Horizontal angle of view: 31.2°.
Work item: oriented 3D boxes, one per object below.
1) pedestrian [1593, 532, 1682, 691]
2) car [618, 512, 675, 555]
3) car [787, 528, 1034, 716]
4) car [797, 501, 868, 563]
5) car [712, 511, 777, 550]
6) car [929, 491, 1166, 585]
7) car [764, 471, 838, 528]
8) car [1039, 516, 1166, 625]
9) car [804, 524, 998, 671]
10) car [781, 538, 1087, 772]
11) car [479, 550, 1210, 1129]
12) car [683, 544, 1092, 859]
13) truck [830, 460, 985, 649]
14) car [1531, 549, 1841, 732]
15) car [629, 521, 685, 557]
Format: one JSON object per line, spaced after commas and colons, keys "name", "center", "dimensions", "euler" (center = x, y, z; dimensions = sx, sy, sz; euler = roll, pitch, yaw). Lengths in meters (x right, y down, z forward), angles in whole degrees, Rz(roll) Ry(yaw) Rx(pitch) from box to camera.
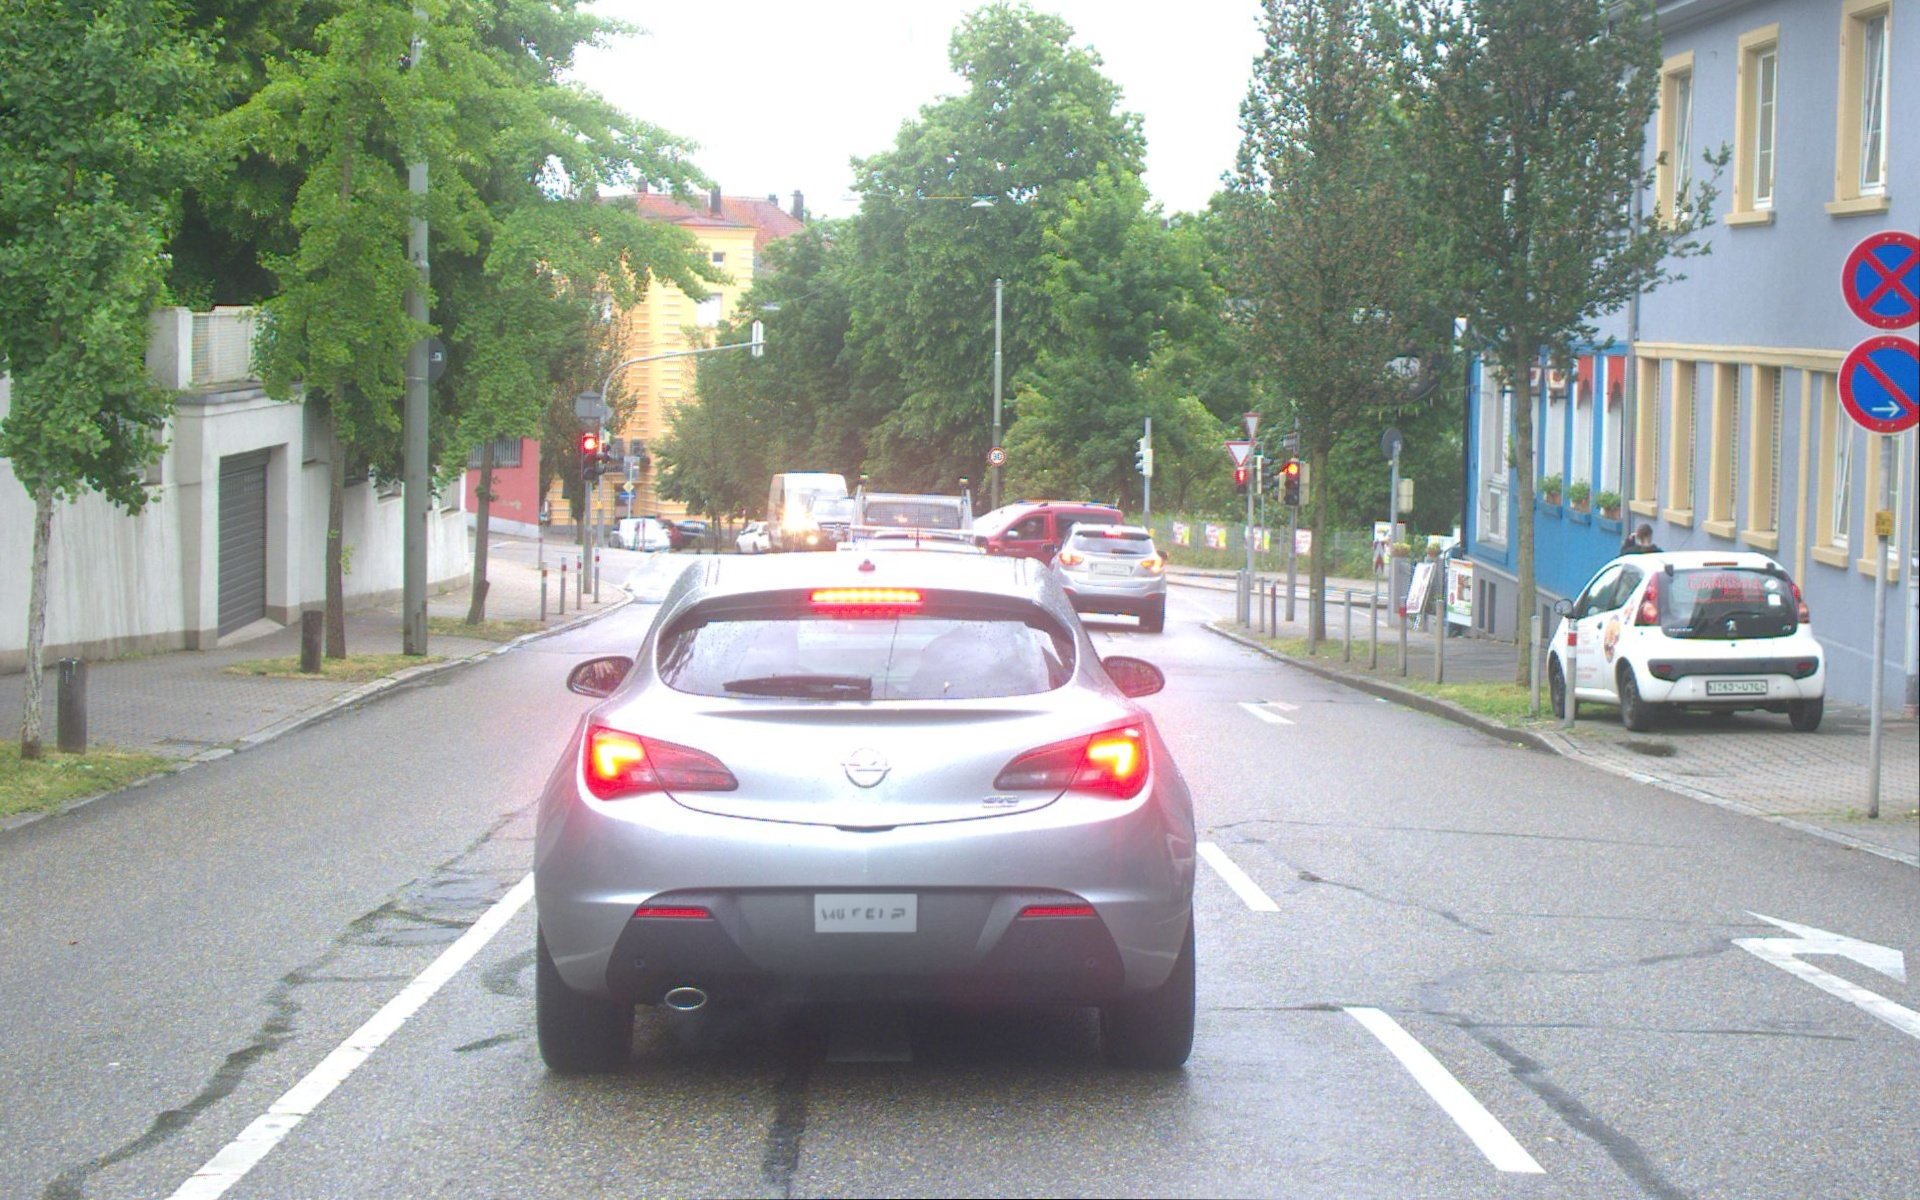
{"name": "pedestrian", "center": [7.498, 0.121, 38.048], "dimensions": [0.783, 1.723, 0.651], "euler": [2, 1, 0]}
{"name": "car", "center": [-10.791, -2.278, 118.437], "dimensions": [1.722, 1.455, 3.880], "euler": [0, 1, -2]}
{"name": "car", "center": [-0.471, 0.135, 30.169], "dimensions": [1.962, 1.443, 4.306], "euler": [2, 1, -2]}
{"name": "car", "center": [-3.446, -1.846, 93.330], "dimensions": [1.870, 1.632, 3.880], "euler": [0, 1, -2]}
{"name": "car", "center": [-8.795, -2.832, 140.056], "dimensions": [1.722, 1.538, 3.881], "euler": [0, 1, -18]}
{"name": "car", "center": [1.767, -1.242, 68.906], "dimensions": [4.444, 1.822, 1.752], "euler": [-1, 1, -29]}
{"name": "car", "center": [-4.687, -2.921, 100.951], "dimensions": [1.722, 1.632, 3.881], "euler": [0, 1, -9]}
{"name": "car", "center": [2.282, -0.498, 55.858], "dimensions": [1.722, 1.708, 3.880], "euler": [0, 1, -3]}
{"name": "car", "center": [-0.673, -0.069, 37.828], "dimensions": [1.962, 1.443, 4.306], "euler": [2, 1, -2]}
{"name": "car", "center": [-0.237, 0.325, 24.791], "dimensions": [1.962, 1.443, 4.306], "euler": [2, 1, -2]}
{"name": "car", "center": [-0.374, 0.586, 10.694], "dimensions": [1.837, 1.429, 3.880], "euler": [1, 1, -2]}
{"name": "car", "center": [-0.421, 0.468, 19.070], "dimensions": [1.962, 1.443, 4.306], "euler": [2, 1, -2]}
{"name": "truck", "center": [-0.768, -0.667, 47.821], "dimensions": [1.962, 2.420, 4.936], "euler": [2, 1, -2]}
{"name": "car", "center": [6.130, 0.297, 29.434], "dimensions": [1.722, 1.443, 3.880], "euler": [0, 1, -2]}
{"name": "car", "center": [-14.014, -2.840, 158.822], "dimensions": [1.722, 1.632, 3.881], "euler": [0, 1, -18]}
